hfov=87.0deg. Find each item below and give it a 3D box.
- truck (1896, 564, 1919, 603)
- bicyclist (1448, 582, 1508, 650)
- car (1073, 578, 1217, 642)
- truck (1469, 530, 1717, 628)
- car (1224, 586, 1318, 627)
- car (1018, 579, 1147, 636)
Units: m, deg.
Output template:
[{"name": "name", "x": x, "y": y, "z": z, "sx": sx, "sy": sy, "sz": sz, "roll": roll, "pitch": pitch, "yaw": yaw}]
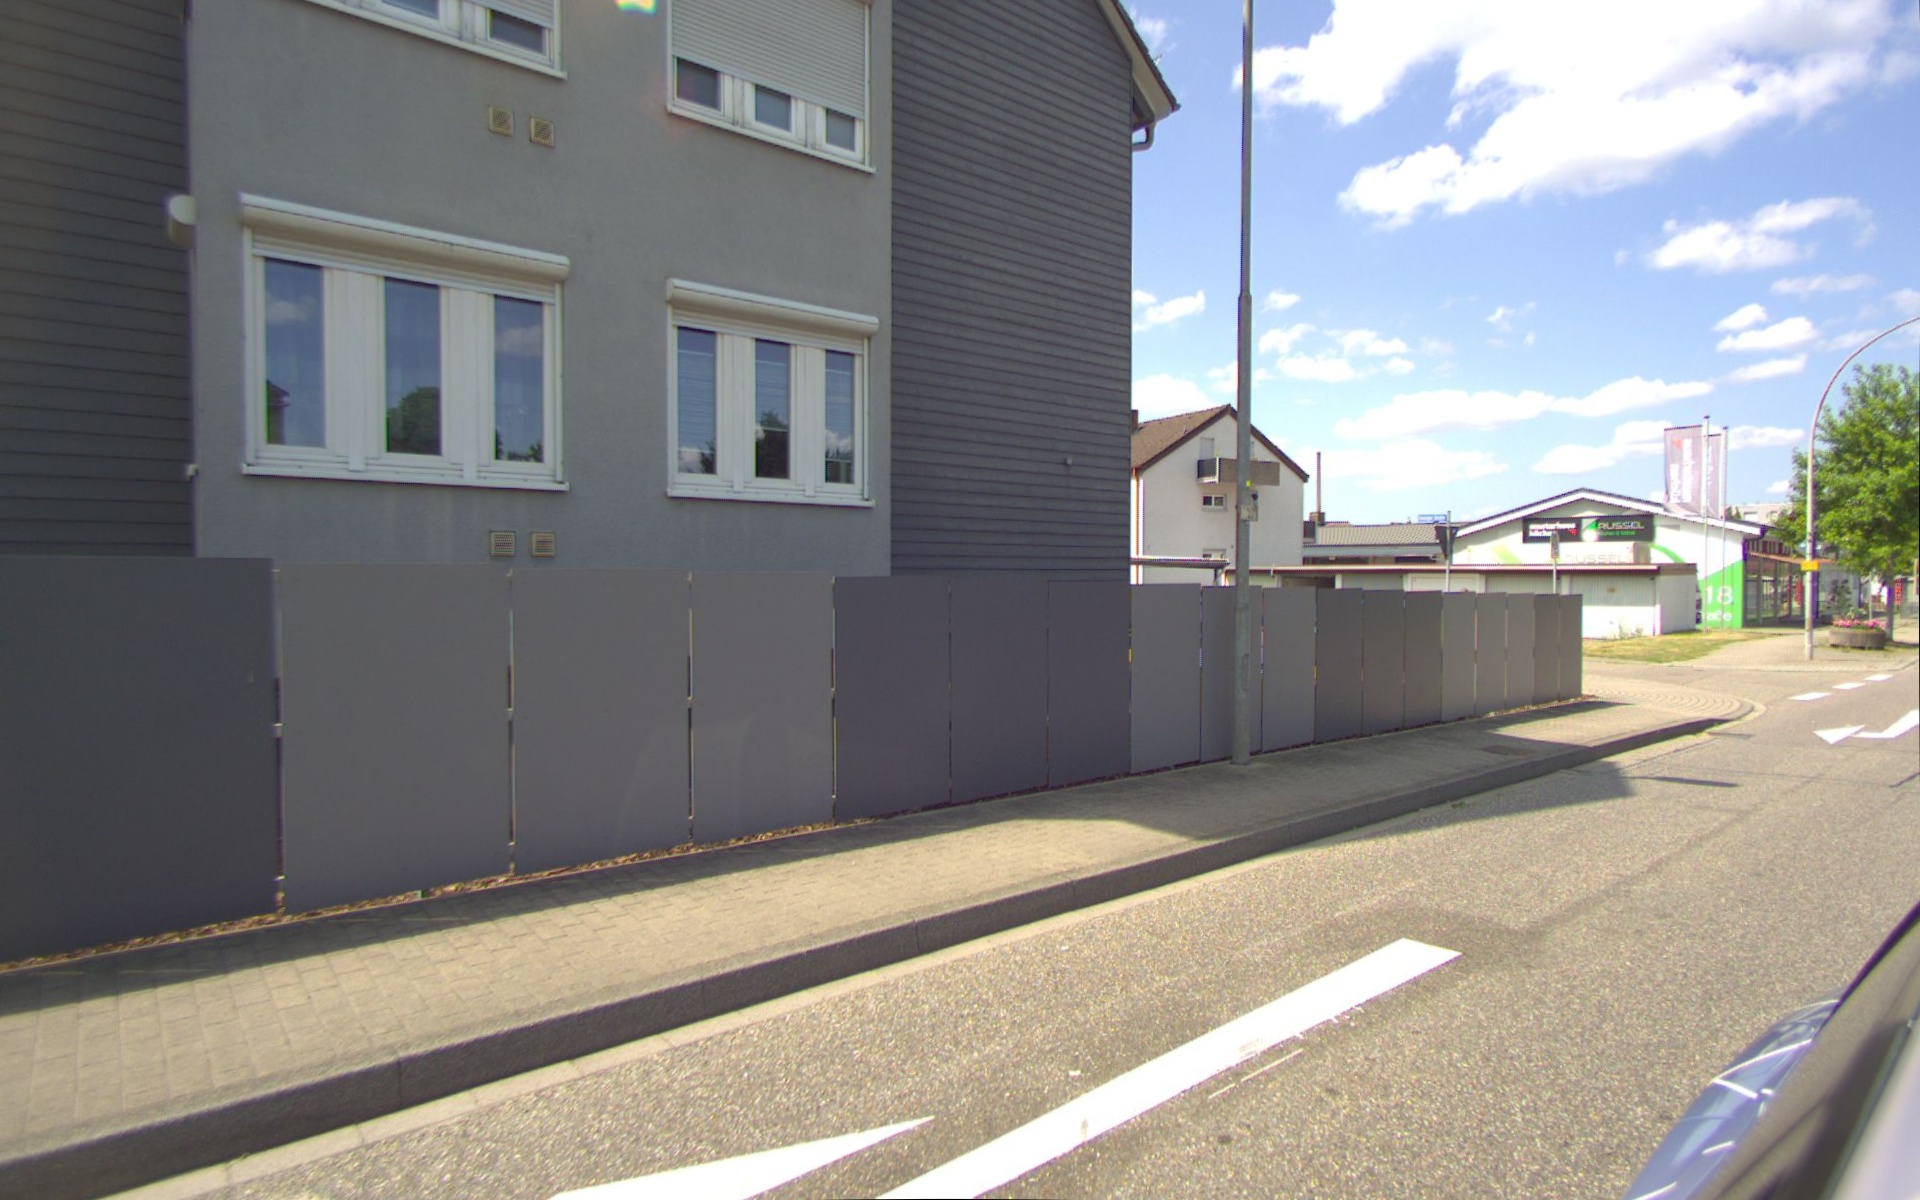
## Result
[{"name": "truck", "x": 72.519, "y": -1.247, "z": 76.294, "sx": 2.571, "sy": 2.795, "sz": 6.240, "roll": 3, "pitch": 3, "yaw": 41}, {"name": "bicyclist", "x": 12.904, "y": 0.380, "z": 25.235, "sx": 0.791, "sy": 1.650, "sz": 1.110, "roll": 0, "pitch": 0, "yaw": -38}, {"name": "car", "x": 5.302, "y": 0.307, "z": 28.799, "sx": 4.139, "sy": 1.669, "sz": 1.741, "roll": 2, "pitch": 0, "yaw": -40}, {"name": "truck", "x": 25.525, "y": -0.852, "z": 41.197, "sx": 2.633, "sy": 3.617, "sz": 8.180, "roll": -2, "pitch": 2, "yaw": -42}, {"name": "car", "x": 12.358, "y": 0.213, "z": 40.080, "sx": 4.060, "sy": 1.522, "sz": 1.678, "roll": -1, "pitch": 1, "yaw": -41}, {"name": "car", "x": 3.757, "y": 0.251, "z": 30.742, "sx": 3.784, "sy": 1.607, "sz": 1.741, "roll": 2, "pitch": 0, "yaw": -40}]
